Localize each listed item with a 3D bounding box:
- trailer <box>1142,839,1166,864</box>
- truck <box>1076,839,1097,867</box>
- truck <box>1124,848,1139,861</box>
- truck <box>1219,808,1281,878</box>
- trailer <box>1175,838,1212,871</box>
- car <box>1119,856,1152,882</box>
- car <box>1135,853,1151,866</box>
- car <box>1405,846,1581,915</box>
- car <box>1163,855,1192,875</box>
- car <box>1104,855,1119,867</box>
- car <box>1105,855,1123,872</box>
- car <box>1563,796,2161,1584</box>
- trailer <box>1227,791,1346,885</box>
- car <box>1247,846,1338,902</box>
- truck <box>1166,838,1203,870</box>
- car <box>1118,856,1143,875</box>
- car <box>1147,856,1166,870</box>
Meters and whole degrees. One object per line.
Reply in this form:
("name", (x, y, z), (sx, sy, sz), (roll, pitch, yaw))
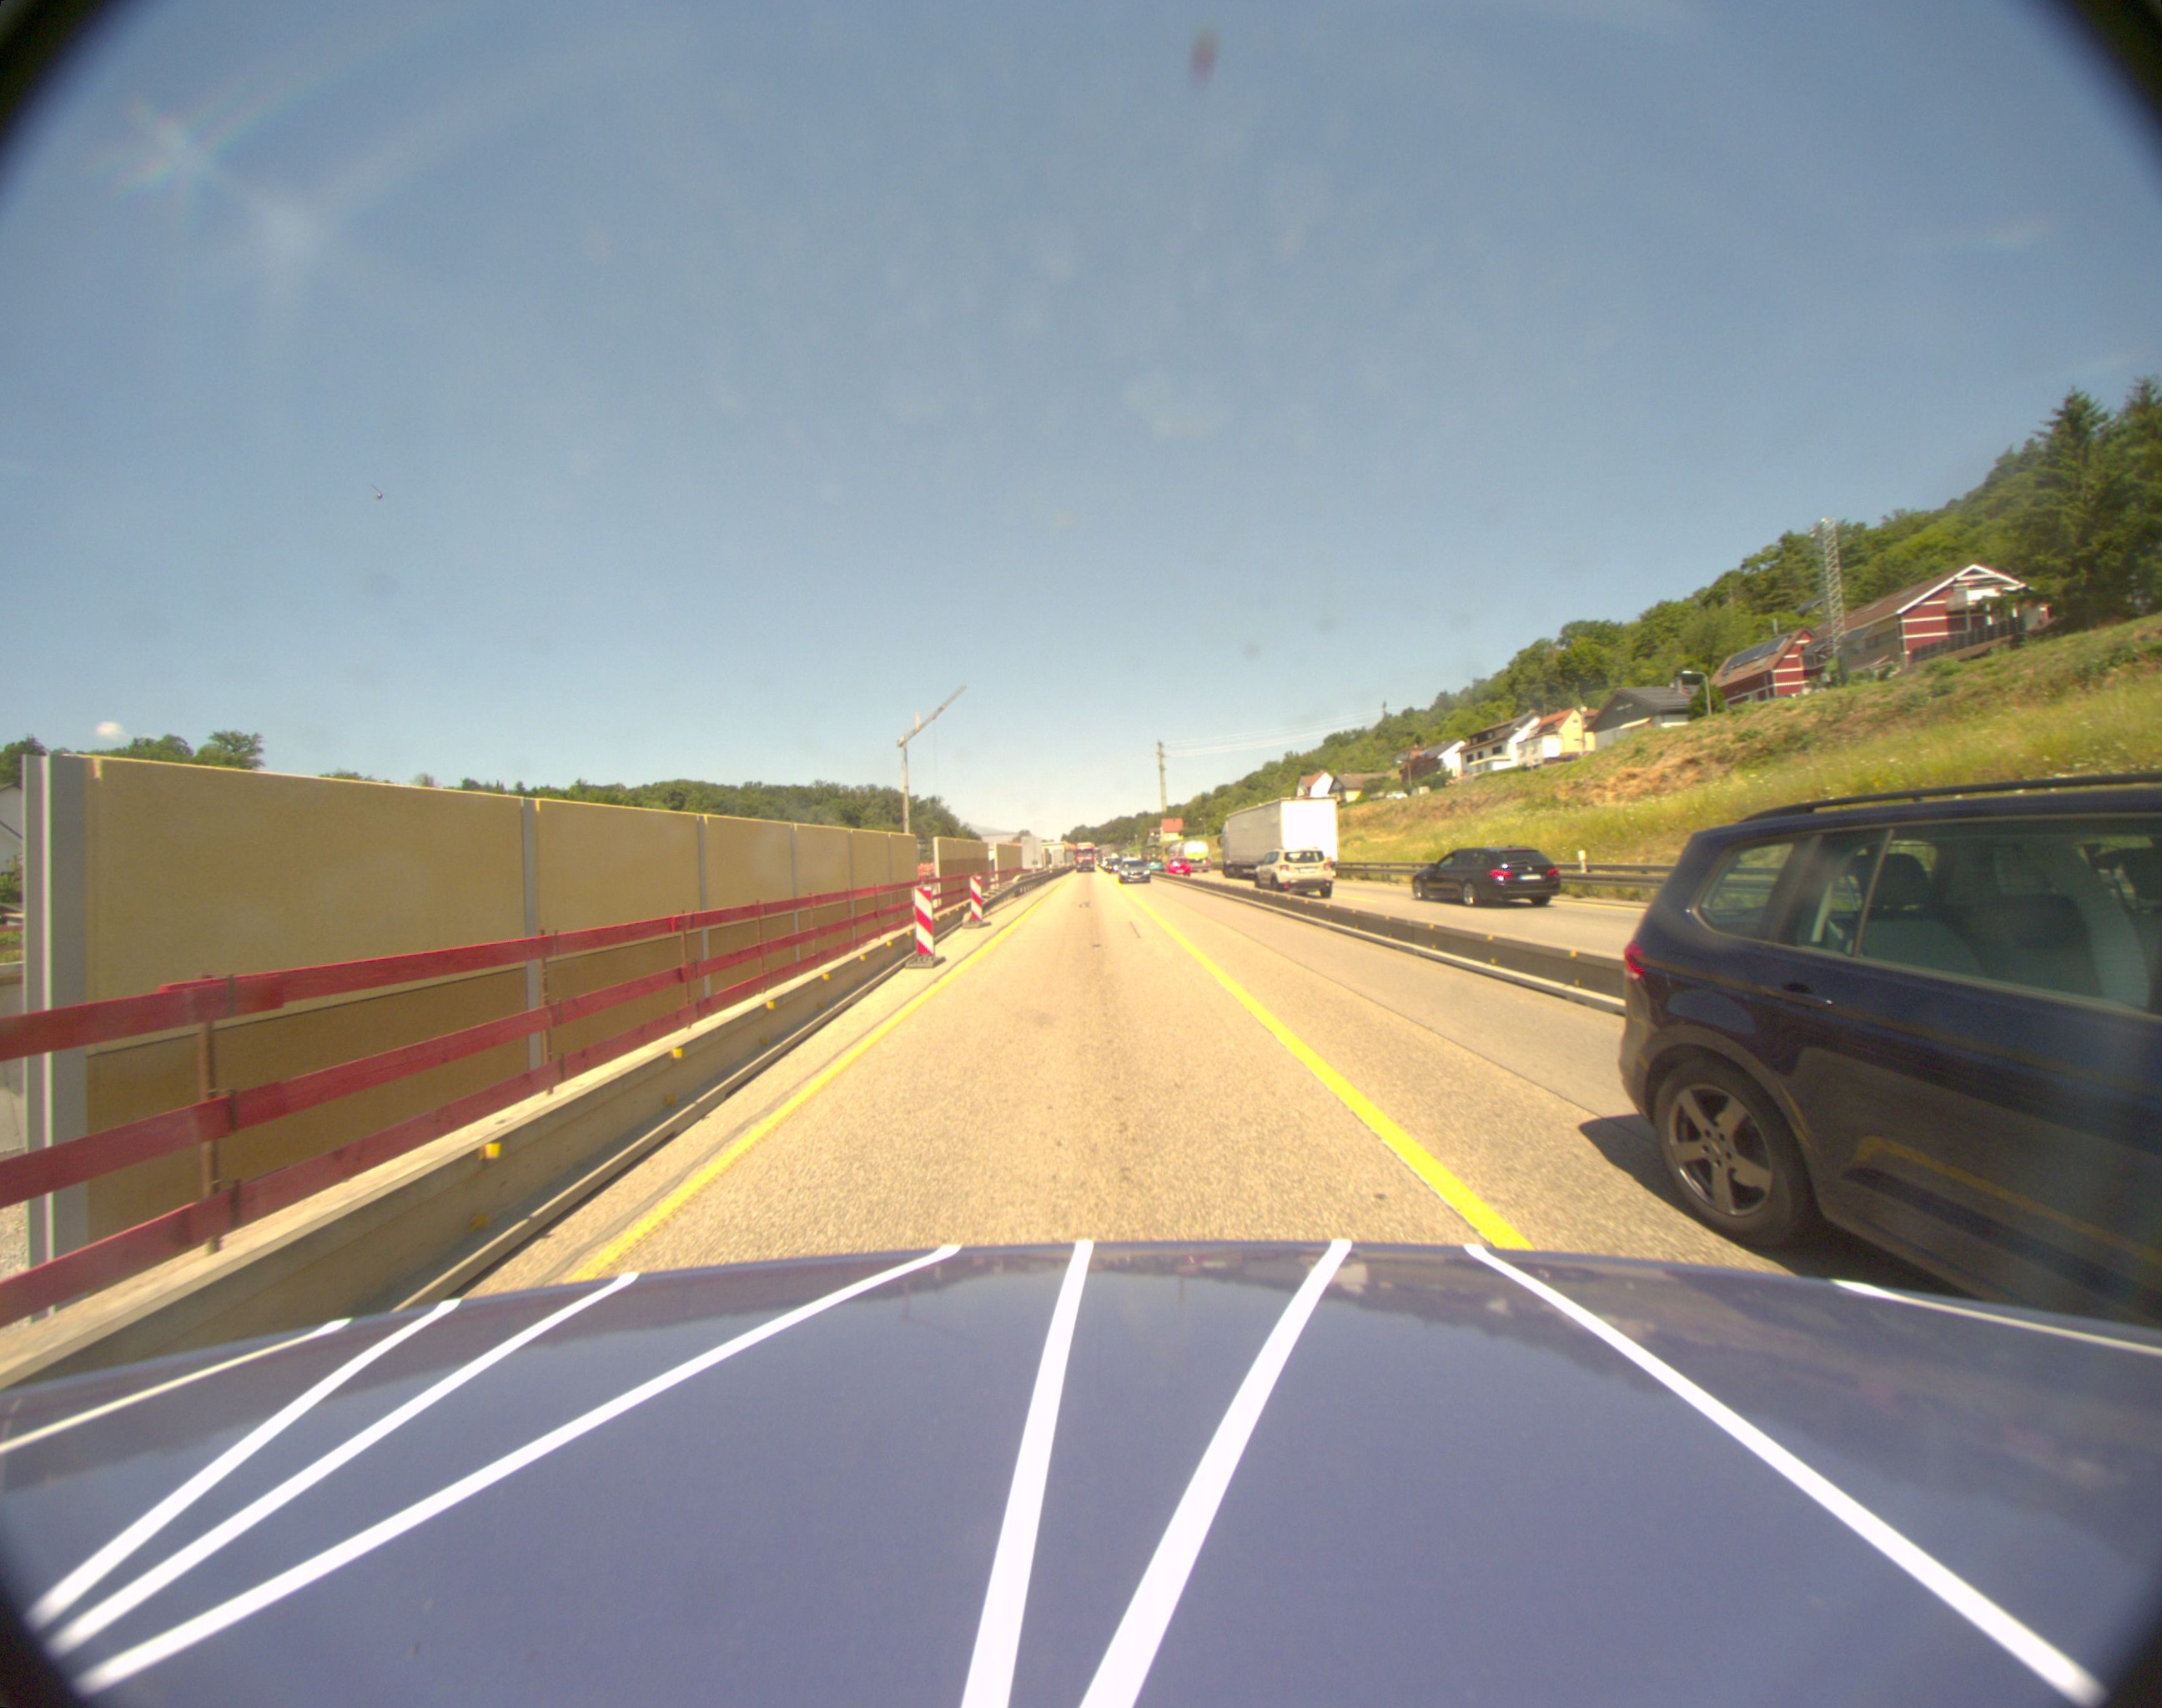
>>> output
("trailer", (12.085, -0.318, 126.820), (2.920, 3.915, 10.527), (-2, 0, 1))
("truck", (0.904, -0.067, 105.977), (2.605, 3.704, 10.537), (-2, -1, 1))
("truck", (13.222, 0.122, 201.035), (2.769, 3.303, 15.936), (-2, 0, 0))
("truck", (10.736, -0.680, 48.857), (2.752, 4.157, 5.288), (-2, 0, 1))
("trailer", (10.924, 0.028, 74.298), (2.619, 2.983, 6.370), (-2, 0, 1))
("car", (3.268, 0.903, 46.101), (1.780, 1.447, 4.336), (-2, -1, 1))
("car", (8.219, 0.659, 101.004), (1.722, 1.625, 4.499), (-2, 0, 1))
("car", (10.414, 0.585, 19.696), (1.998, 1.498, 4.718), (-3, 0, 0))
("car", (7.341, 0.800, 57.991), (1.674, 1.457, 4.000), (-2, 0, 1))
("car", (3.958, 0.980, 99.817), (1.780, 1.485, 4.336), (-2, -1, 1))
("car", (3.520, 1.056, 81.346), (1.780, 1.727, 4.336), (-2, -1, 1))
("car", (3.197, 0.692, 1.310), (1.780, 1.708, 4.653), (-2, -1, 1))
("trailer", (10.611, -0.698, 41.274), (2.793, 4.157, 13.979), (-2, 0, 1))
("car", (6.994, 0.606, 25.578), (1.837, 1.656, 4.414), (-2, 0, 1))
("truck", (11.052, 0.002, 82.014), (2.733, 3.124, 8.959), (-2, 0, 1))
("car", (3.933, 0.923, 60.754), (1.780, 1.447, 4.336), (-2, -1, 1))
("car", (7.917, 0.955, 79.850), (1.670, 1.386, 3.905), (-2, 0, 1))
